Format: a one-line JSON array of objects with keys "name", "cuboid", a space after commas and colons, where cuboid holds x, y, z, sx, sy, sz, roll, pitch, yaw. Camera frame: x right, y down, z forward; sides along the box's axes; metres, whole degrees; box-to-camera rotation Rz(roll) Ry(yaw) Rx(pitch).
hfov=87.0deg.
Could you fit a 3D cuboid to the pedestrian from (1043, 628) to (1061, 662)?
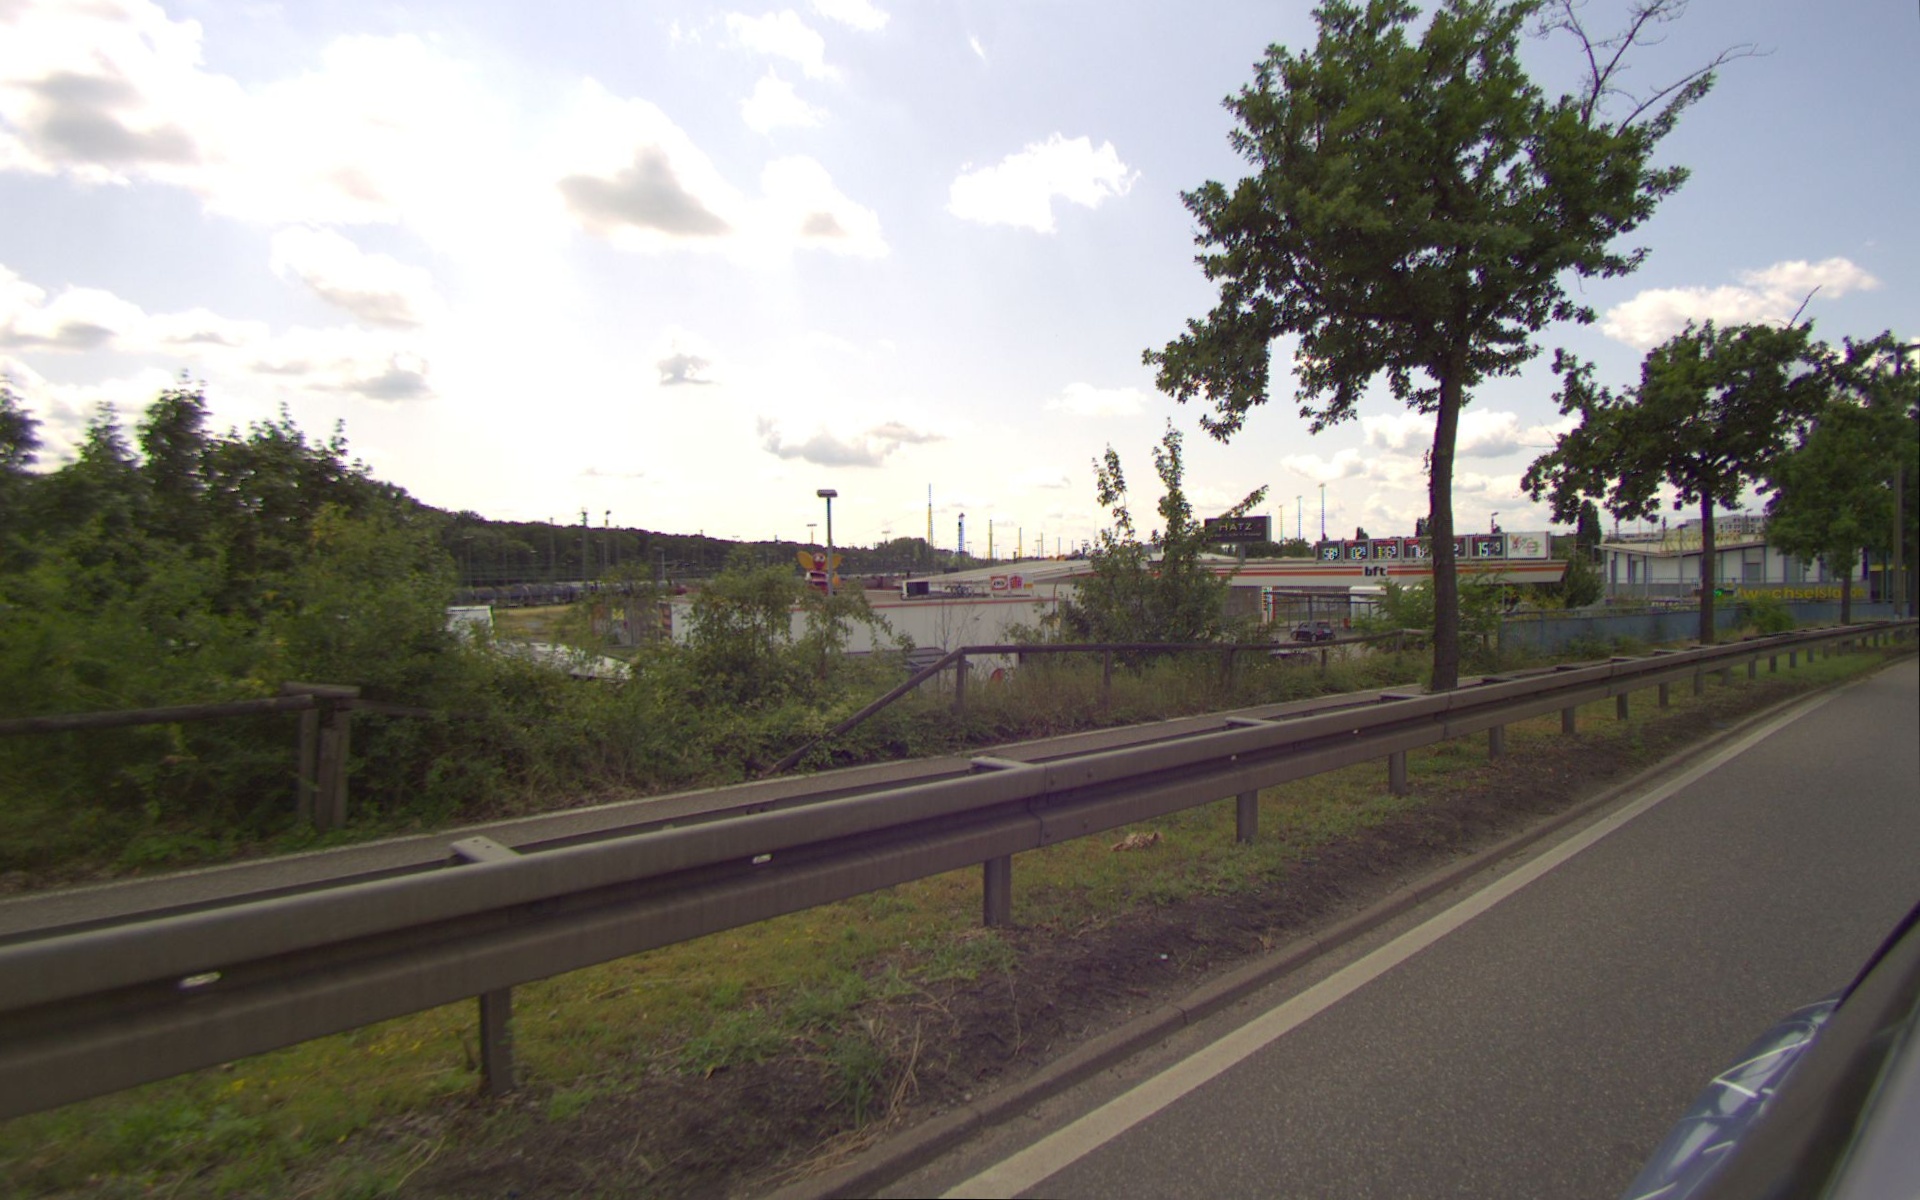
[{"name": "pedestrian", "cuboid": [5.445, 2.668, 59.934, 0.738, 1.881, 0.822, -3, 2, -26]}]
